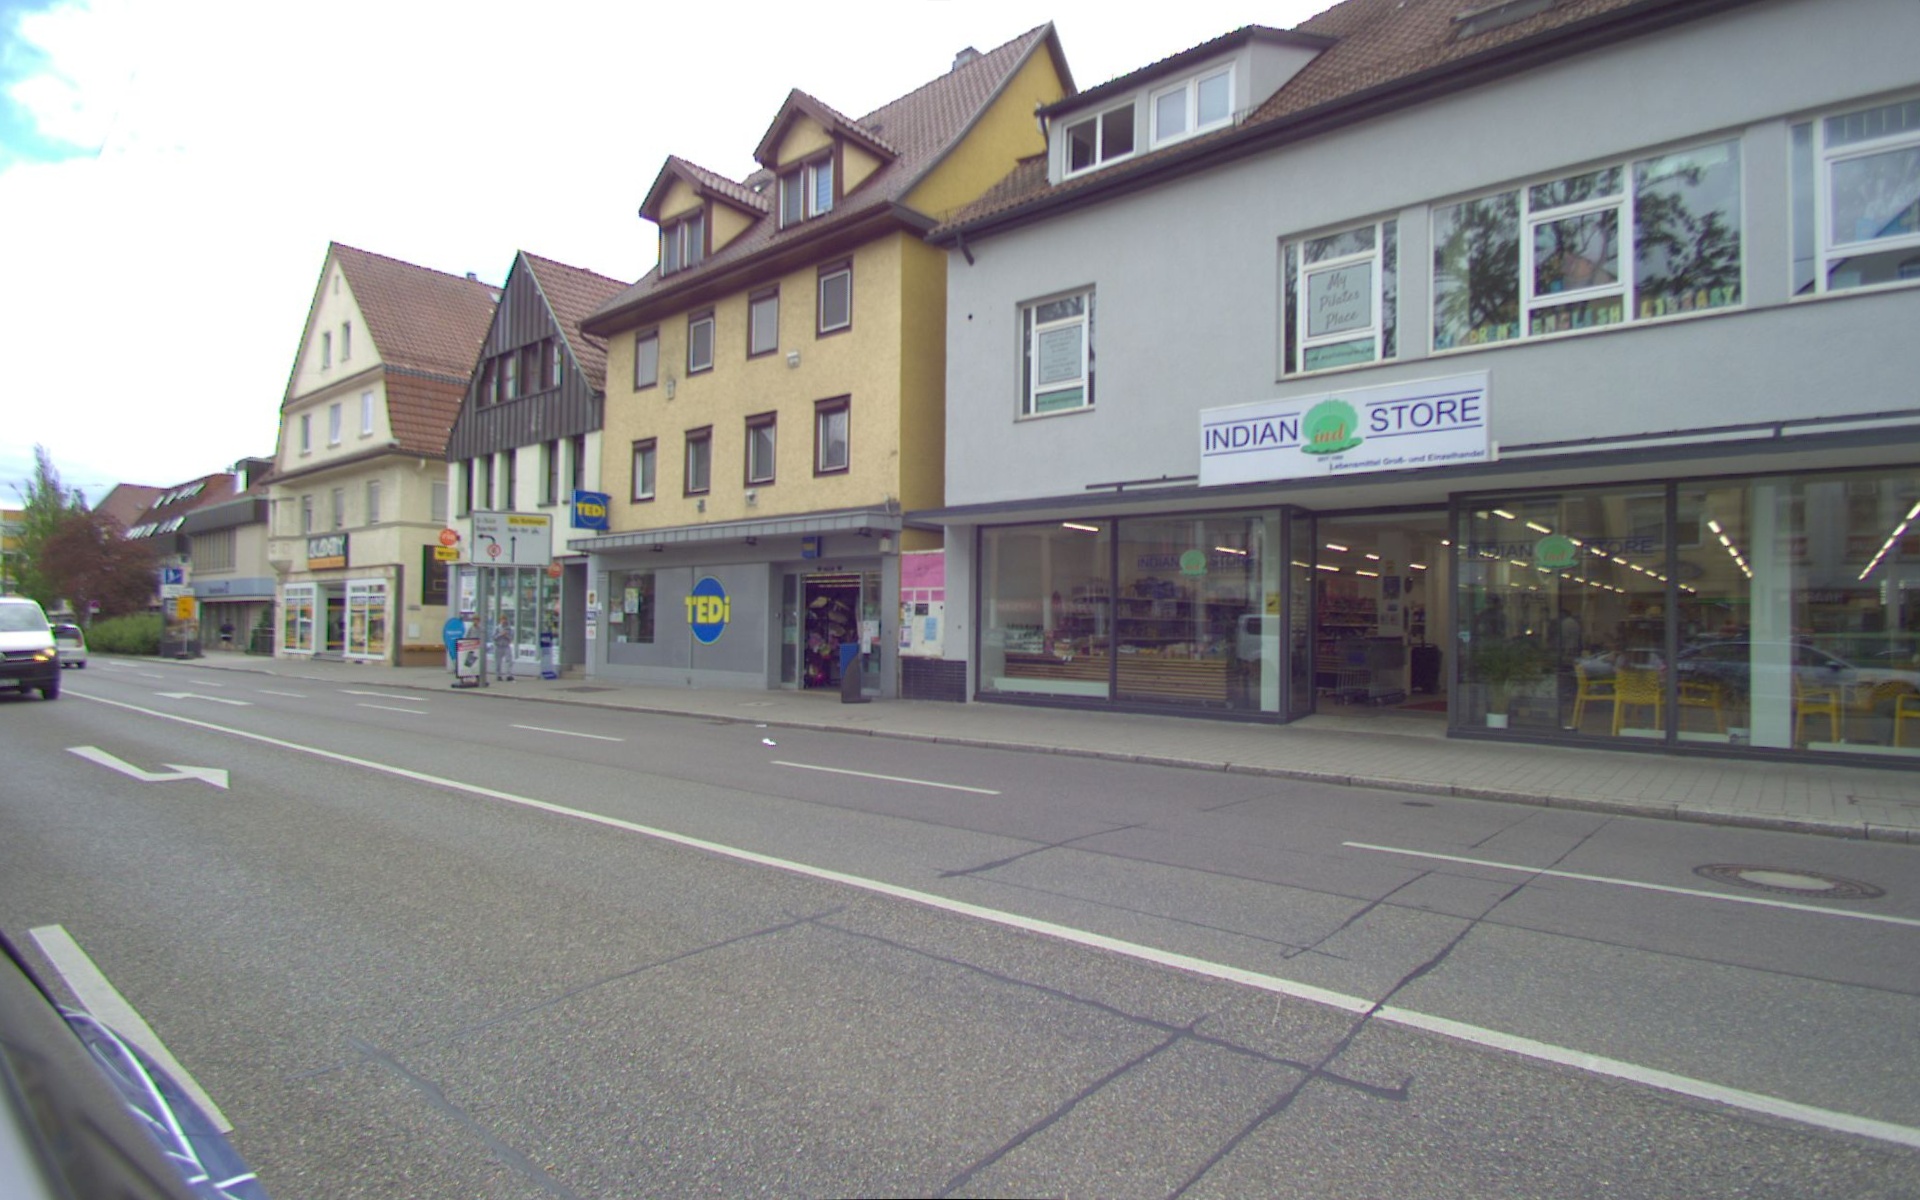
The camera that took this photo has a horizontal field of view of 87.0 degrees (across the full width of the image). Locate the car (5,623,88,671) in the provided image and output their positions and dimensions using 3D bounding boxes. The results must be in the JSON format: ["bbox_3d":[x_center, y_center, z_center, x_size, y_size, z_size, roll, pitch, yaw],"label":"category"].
[{"bbox_3d":[-30.254,1.546,33.485,3.461,1.500,1.558,-2,-3,40],"label":"car"}]

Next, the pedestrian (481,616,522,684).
[{"bbox_3d":[-11.705,1.268,25.835,0.709,1.683,0.681,-2,0,41],"label":"pedestrian"}]

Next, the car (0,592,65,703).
[{"bbox_3d":[-18.928,0.901,19.588,4.850,1.974,1.806,-2,-2,41],"label":"car"}]

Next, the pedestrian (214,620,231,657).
[{"bbox_3d":[-38.066,1.969,52.244,0.592,1.903,0.544,-2,-1,37],"label":"pedestrian"}]

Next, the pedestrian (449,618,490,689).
[{"bbox_3d":[-12.131,1.302,25.040,0.742,1.703,0.680,-2,-1,41],"label":"pedestrian"}]
